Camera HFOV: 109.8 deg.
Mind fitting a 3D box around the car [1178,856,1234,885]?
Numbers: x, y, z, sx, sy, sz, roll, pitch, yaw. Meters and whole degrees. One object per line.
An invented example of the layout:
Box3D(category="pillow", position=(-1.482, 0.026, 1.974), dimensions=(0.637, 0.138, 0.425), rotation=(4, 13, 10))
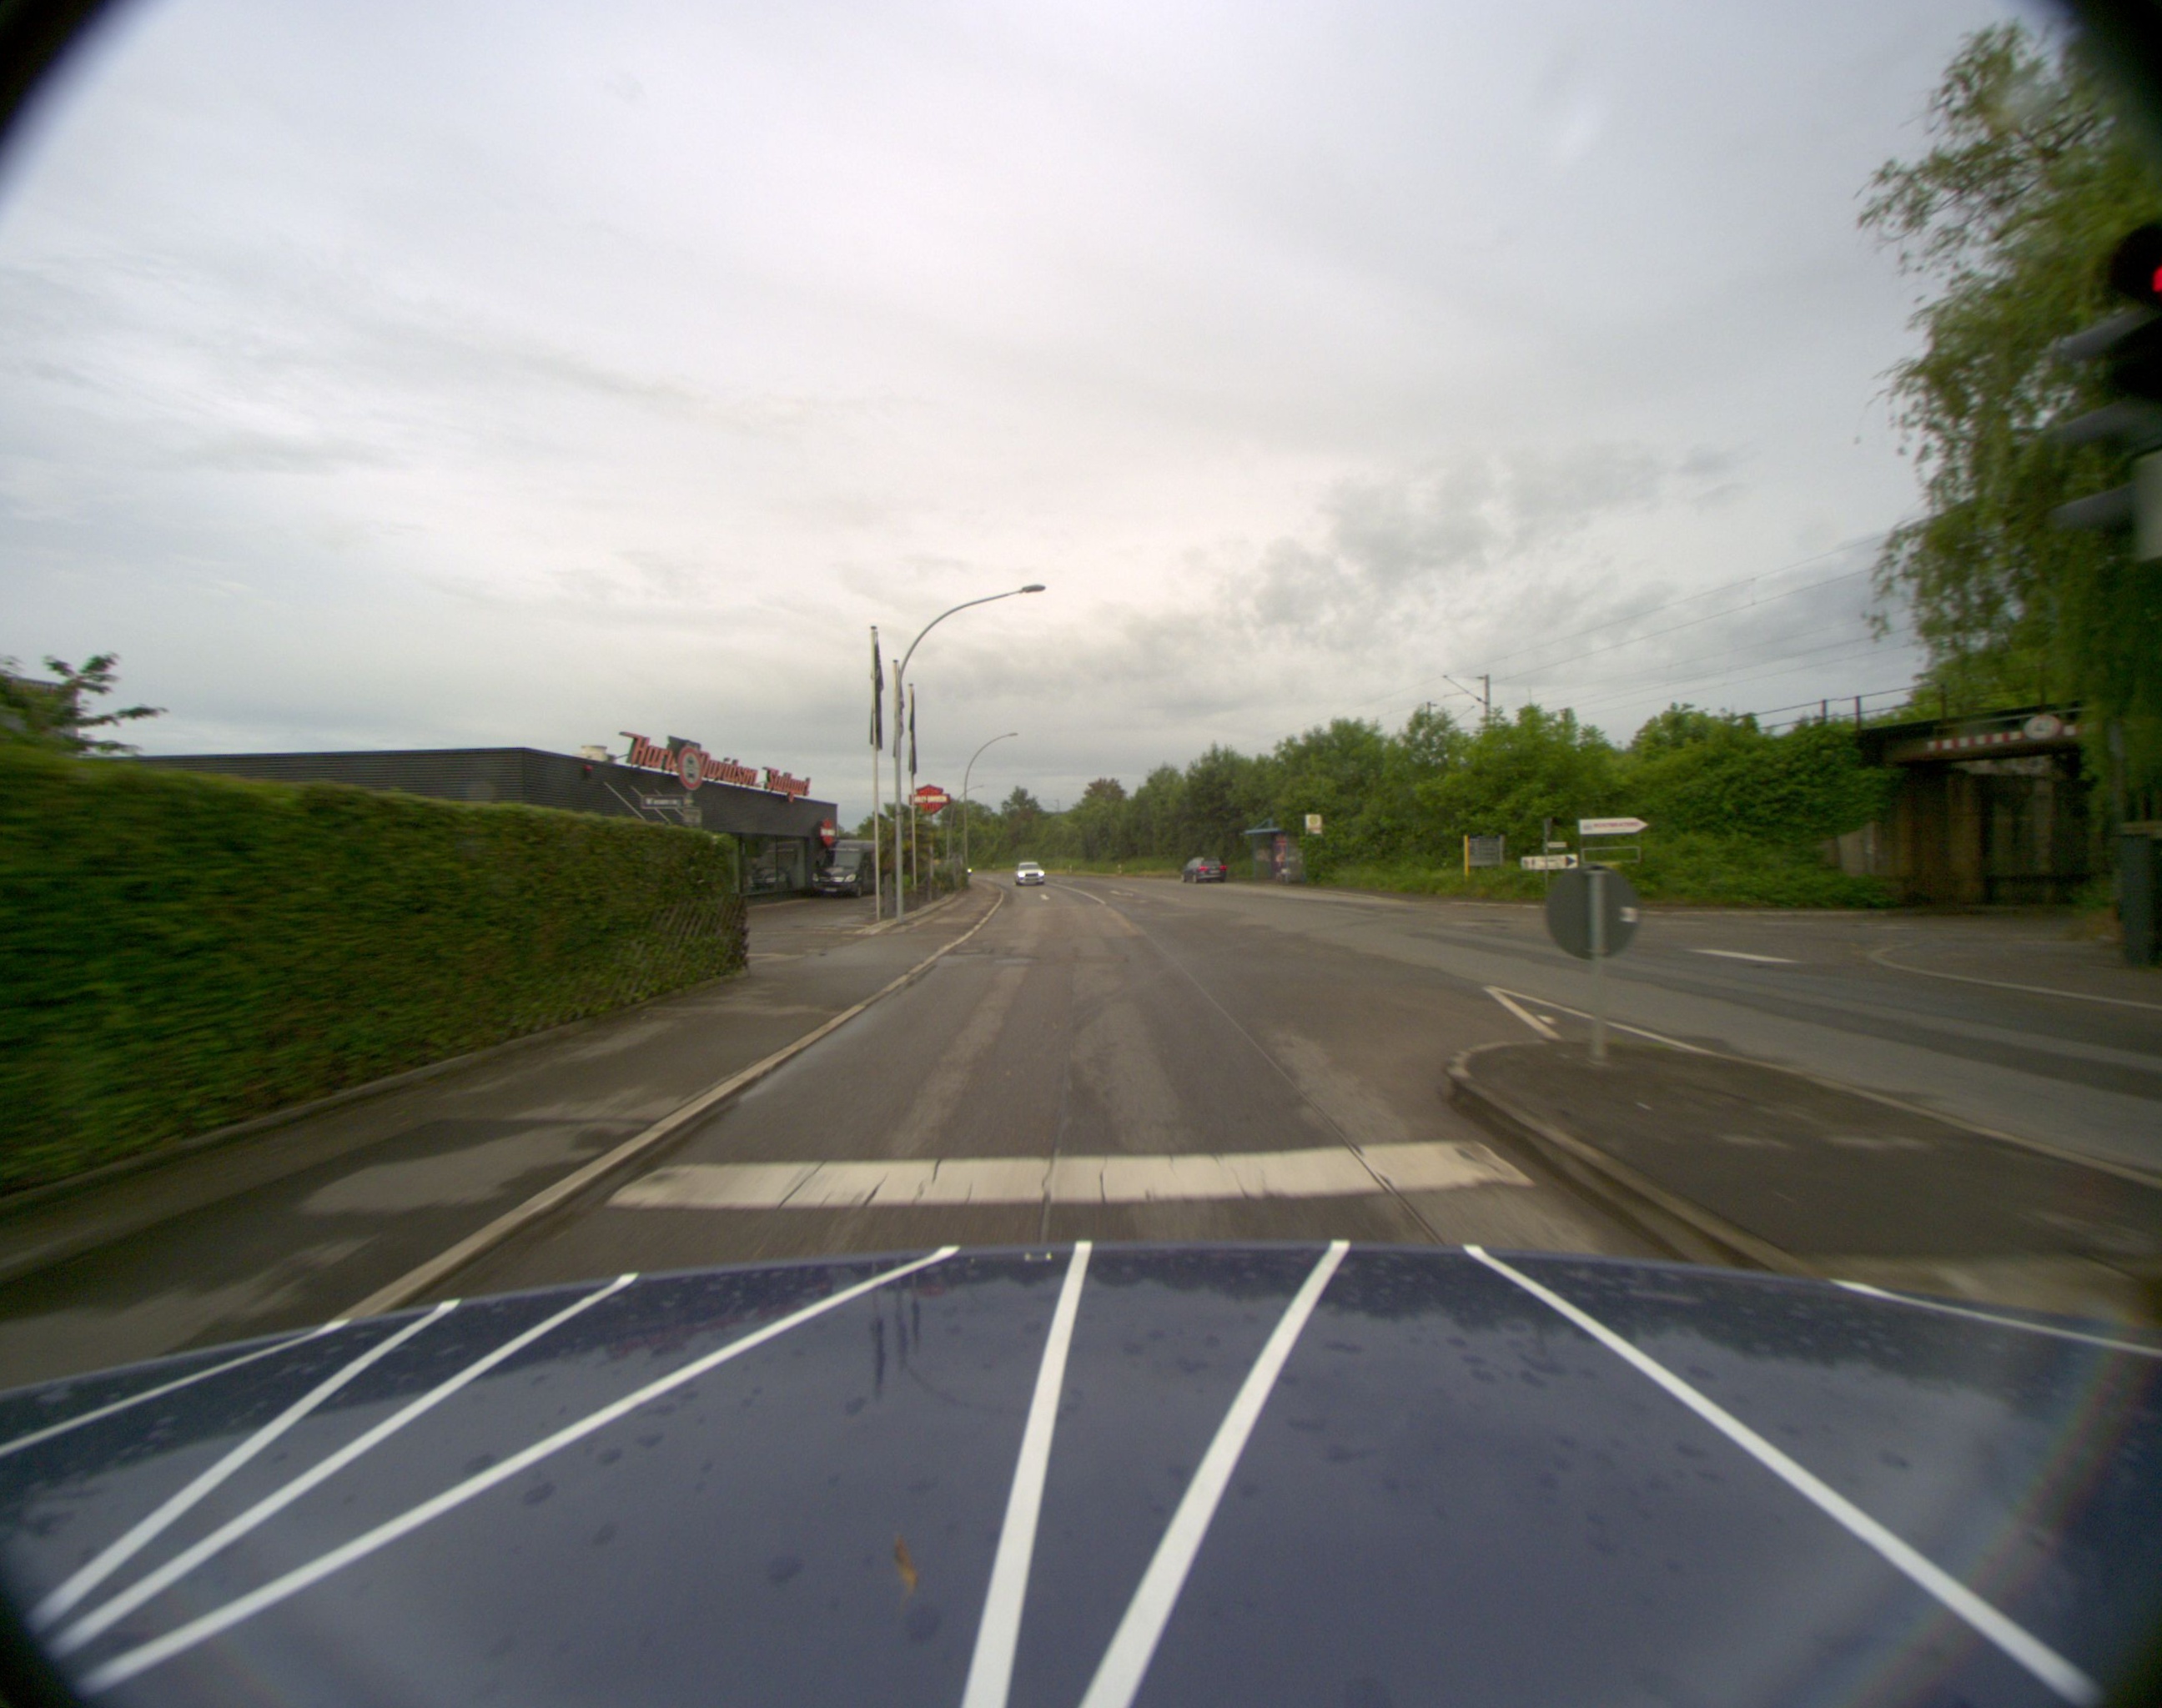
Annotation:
Box3D(category="car", position=(7.411, 0.923, 45.563), dimensions=(2.000, 1.465, 4.697), rotation=(-4, 1, -7))

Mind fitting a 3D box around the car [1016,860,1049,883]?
Box3D(category="car", position=(-3.617, 1.271, 56.120), dimensions=(1.850, 1.565, 3.823), rotation=(-1, 0, -12))

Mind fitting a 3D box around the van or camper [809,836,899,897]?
Box3D(category="van or camper", position=(-10.479, 0.553, 35.735), dimensions=(2.046, 2.578, 6.590), rotation=(-1, 0, 1))
